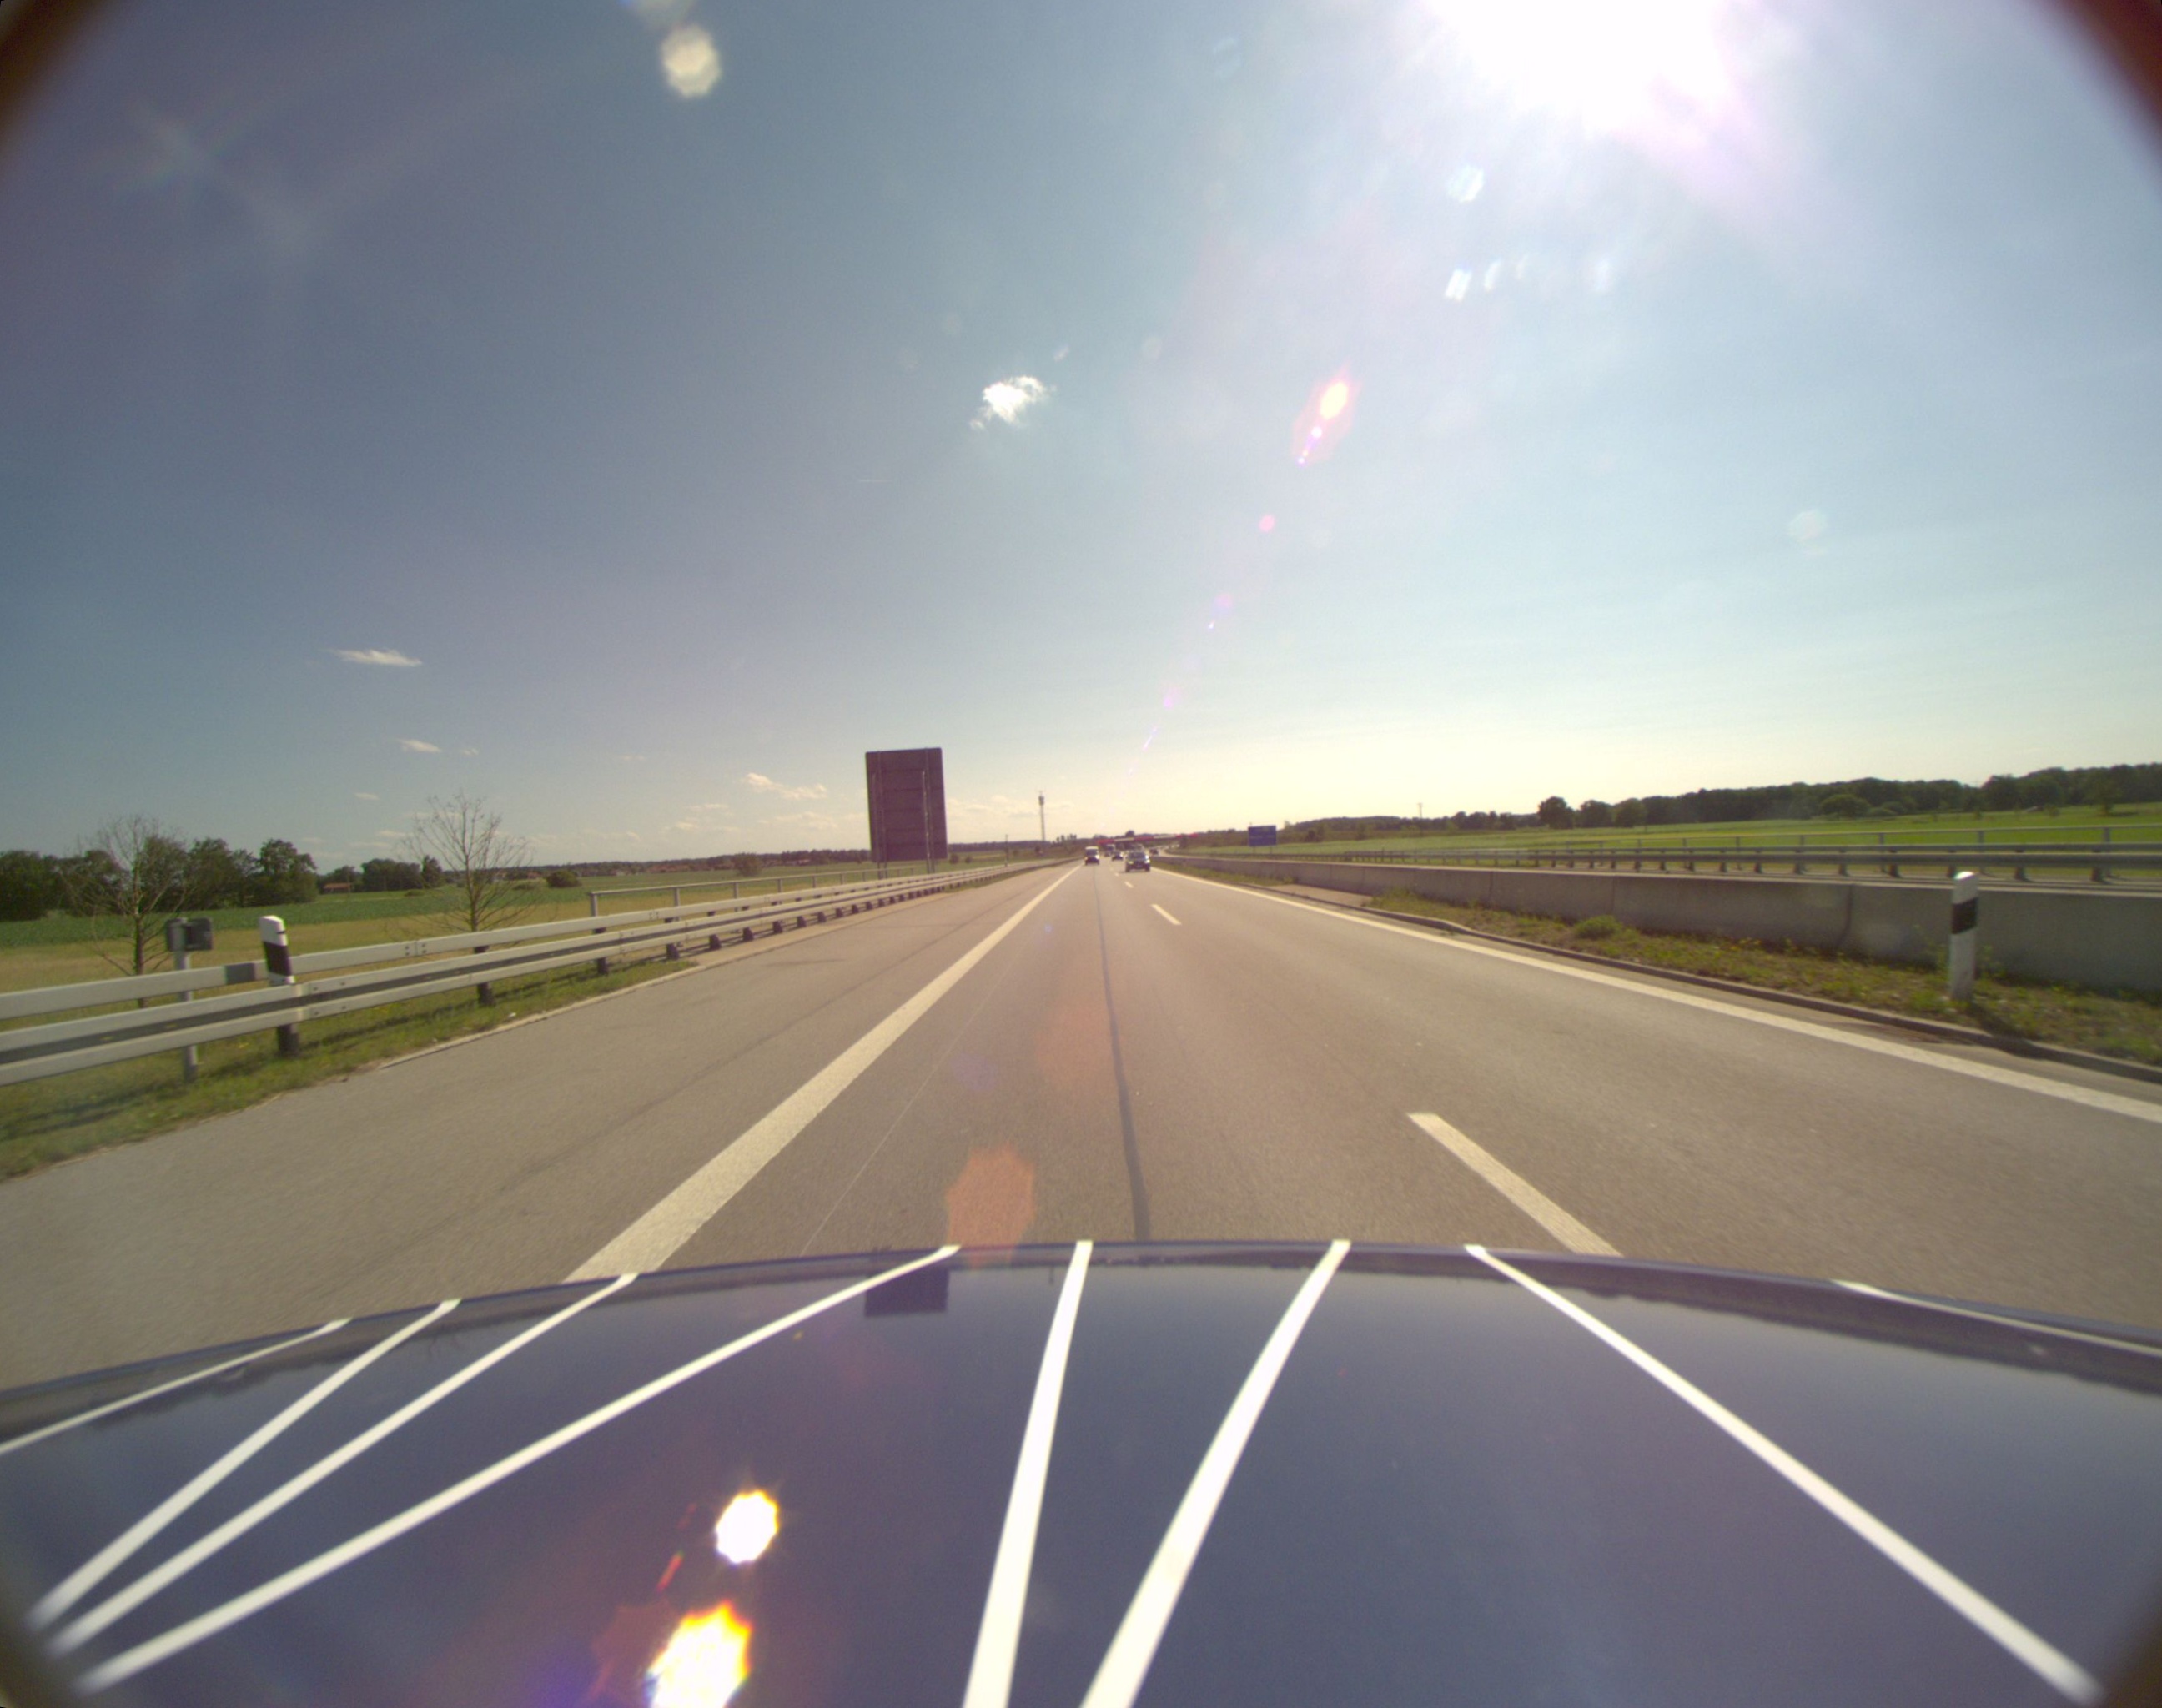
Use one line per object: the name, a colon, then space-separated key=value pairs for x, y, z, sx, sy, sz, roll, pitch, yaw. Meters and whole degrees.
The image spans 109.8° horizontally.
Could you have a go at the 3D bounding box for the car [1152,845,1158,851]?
car: x=26.086 y=-2.039 z=266.898 sx=1.958 sy=1.831 sz=5.451 roll=-1 pitch=0 yaw=6

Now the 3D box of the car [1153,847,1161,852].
car: x=22.453 y=-1.294 z=223.951 sx=1.902 sy=1.514 sz=4.806 roll=-1 pitch=0 yaw=2

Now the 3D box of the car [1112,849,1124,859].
car: x=6.676 y=-0.074 z=136.836 sx=2.030 sy=1.601 sz=4.817 roll=-2 pitch=1 yaw=1

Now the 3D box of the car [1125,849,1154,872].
car: x=4.586 y=0.480 z=60.564 sx=2.030 sy=1.600 sz=4.818 roll=-3 pitch=1 yaw=2

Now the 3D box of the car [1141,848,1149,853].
car: x=17.992 y=-1.033 z=213.221 sx=1.902 sy=1.514 sz=4.806 roll=-1 pitch=0 yaw=2

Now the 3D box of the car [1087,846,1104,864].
car: x=1.910 y=0.156 z=100.895 sx=2.030 sy=2.225 sz=4.818 roll=-2 pitch=1 yaw=3
